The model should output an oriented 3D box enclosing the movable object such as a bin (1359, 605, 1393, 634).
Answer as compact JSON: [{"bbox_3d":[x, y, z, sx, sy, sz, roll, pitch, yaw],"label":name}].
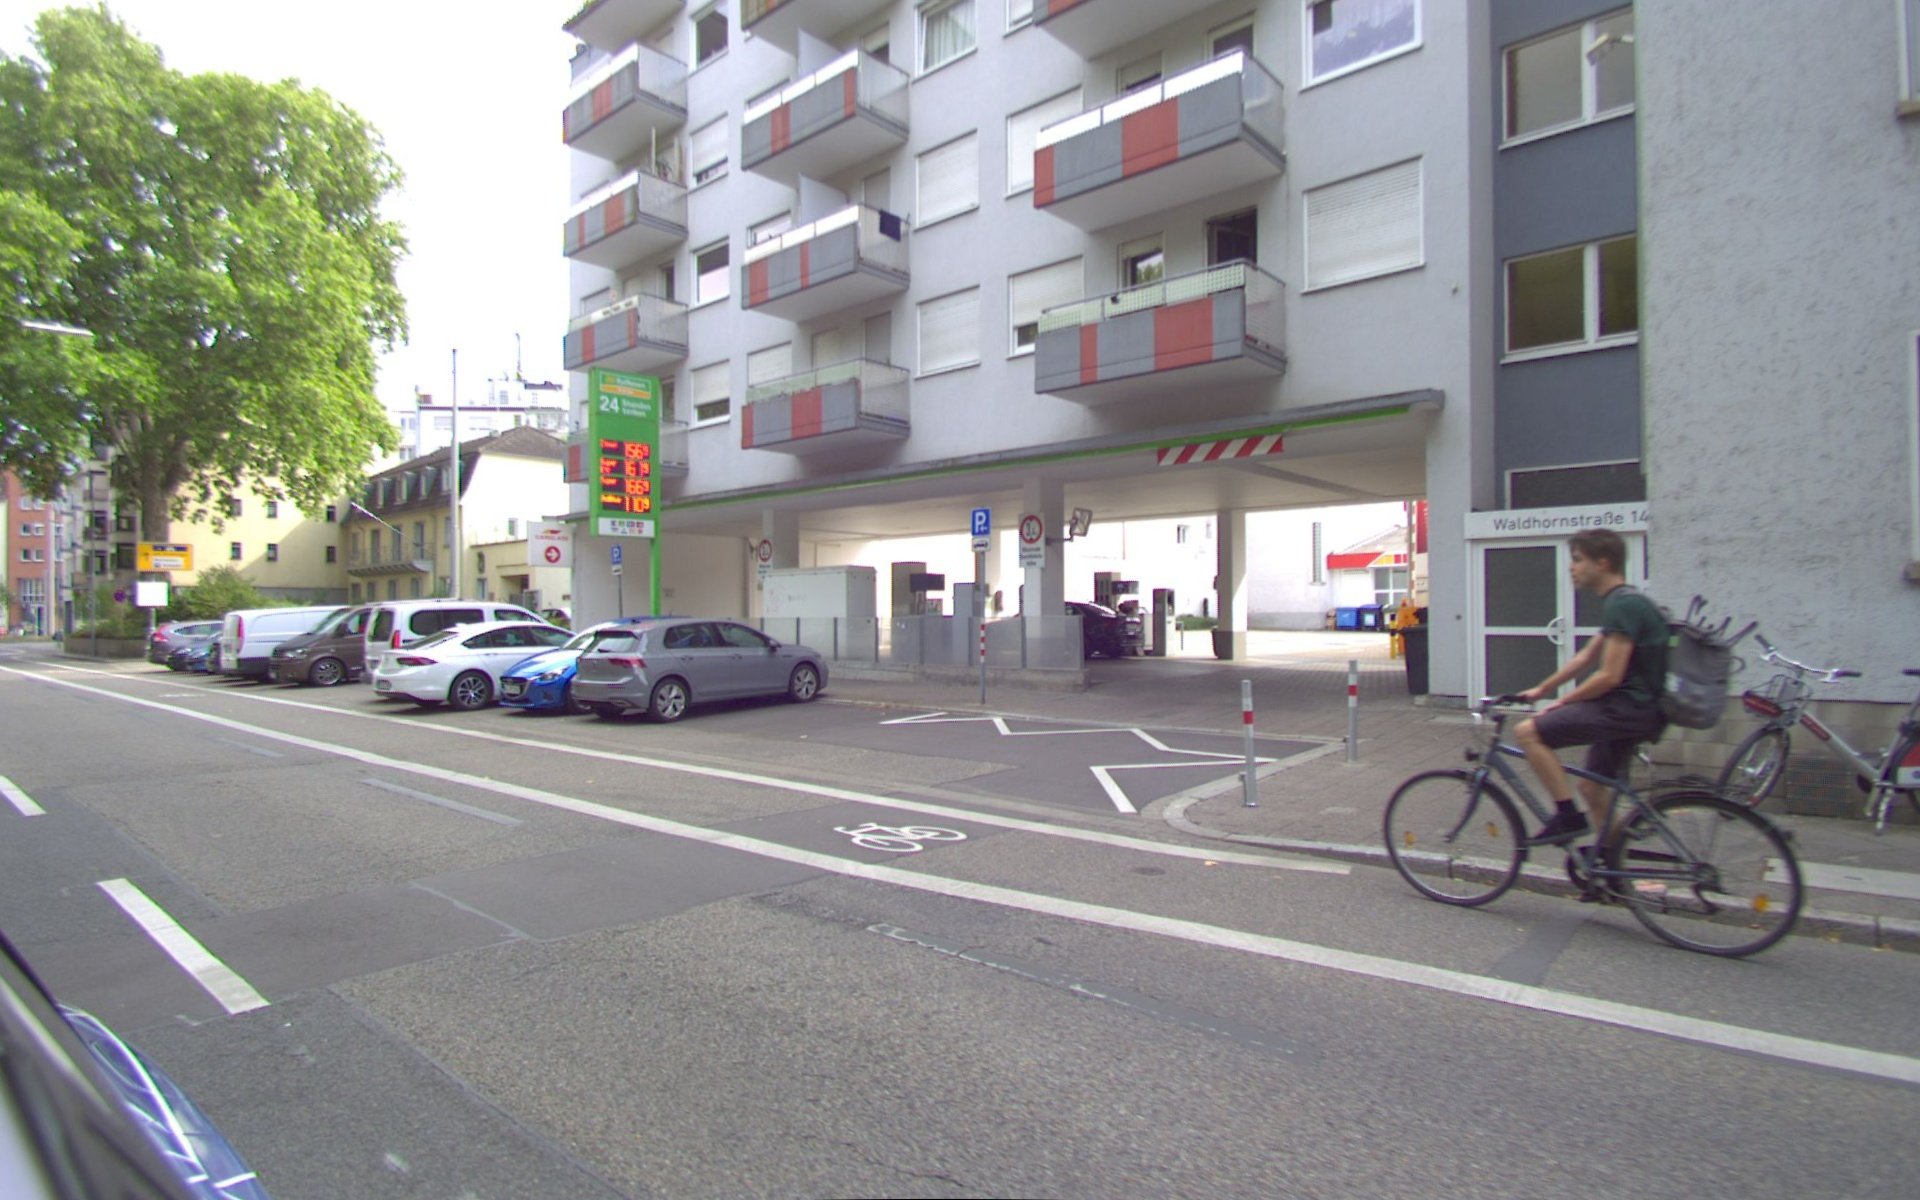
[{"bbox_3d":[21.803,1.013,53.065,1.229,1.454,1.167,0,-1,-38],"label":"movable object such as a bin"}]

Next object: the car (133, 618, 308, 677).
[{"bbox_3d":[-24.950,1.547,34.266,1.754,1.618,4.470,-2,1,42],"label":"car"}]

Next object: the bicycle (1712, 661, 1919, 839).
[{"bbox_3d":[5.550,0.875,6.029,1.662,0.957,0.591,-2,0,42],"label":"bicycle"}]

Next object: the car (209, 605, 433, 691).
[{"bbox_3d":[-16.626,1.180,26.521,1.950,1.873,4.567,-2,1,42],"label":"car"}]

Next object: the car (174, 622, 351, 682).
[{"bbox_3d":[-21.558,1.552,31.396,1.719,1.522,4.220,-2,1,42],"label":"car"}]

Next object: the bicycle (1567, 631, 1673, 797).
[{"bbox_3d":[5.281,0.838,8.062,0.453,1.126,1.753,-2,0,41],"label":"bicycle"}]

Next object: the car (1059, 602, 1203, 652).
[{"bbox_3d":[5.586,0.885,33.412,4.365,1.533,1.820,-2,-1,42],"label":"car"}]

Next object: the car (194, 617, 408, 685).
[{"bbox_3d":[-18.307,1.356,28.296,1.874,1.481,4.655,-2,1,42],"label":"car"}]

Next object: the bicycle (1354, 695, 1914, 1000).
[{"bbox_3d":[3.012,1.018,4.745,2.076,1.022,0.639,-1,-2,41],"label":"bicycle"}]

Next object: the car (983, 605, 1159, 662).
[{"bbox_3d":[2.711,0.808,25.142,3.998,1.308,1.888,-1,-1,41],"label":"car"}]

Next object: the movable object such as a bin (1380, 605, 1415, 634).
[{"bbox_3d":[22.504,1.002,52.080,1.229,1.454,1.167,0,-1,-38],"label":"movable object such as a bin"}]

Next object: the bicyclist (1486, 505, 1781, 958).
[{"bbox_3d":[3.097,0.539,4.682,1.045,1.824,0.645,-1,-2,42],"label":"bicyclist"}]

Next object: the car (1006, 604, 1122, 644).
[{"bbox_3d":[4.108,0.955,40.377,4.365,1.533,1.820,-2,-1,42],"label":"car"}]

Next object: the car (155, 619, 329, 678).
[{"bbox_3d":[-23.172,1.514,32.785,1.732,1.560,4.315,-2,1,42],"label":"car"}]

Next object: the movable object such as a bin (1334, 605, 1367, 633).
[{"bbox_3d":[20.929,1.027,54.201,1.229,1.454,1.167,0,-1,-38],"label":"movable object such as a bin"}]

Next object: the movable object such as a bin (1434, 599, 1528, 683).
[{"bbox_3d":[8.931,0.689,17.355,1.178,1.362,1.031,-2,-2,44],"label":"movable object such as a bin"}]

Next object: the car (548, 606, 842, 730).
[{"bbox_3d":[-4.027,0.955,15.888,1.837,1.525,4.107,-2,1,42],"label":"car"}]

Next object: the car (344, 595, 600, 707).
[{"bbox_3d":[-9.680,0.928,20.311,1.923,1.861,4.167,-2,1,42],"label":"car"}]

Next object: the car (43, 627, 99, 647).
[{"bbox_3d":[-83.451,3.467,95.033,1.940,1.683,4.561,-1,-1,-11],"label":"car"}]

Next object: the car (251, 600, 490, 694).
[{"bbox_3d":[-14.533,1.077,25.174,1.993,1.948,4.716,-2,1,42],"label":"car"}]

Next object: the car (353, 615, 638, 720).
[{"bbox_3d":[-8.183,1.103,18.133,1.873,1.462,4.226,-2,1,42],"label":"car"}]

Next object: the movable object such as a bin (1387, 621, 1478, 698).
[{"bbox_3d":[7.094,0.872,15.200,0.975,1.115,0.934,-2,-2,44],"label":"movable object such as a bin"}]

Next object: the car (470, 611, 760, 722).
[{"bbox_3d":[-5.728,1.027,17.199,1.910,1.462,4.255,-2,1,42],"label":"car"}]

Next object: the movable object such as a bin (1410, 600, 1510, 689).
[{"bbox_3d":[8.044,0.701,16.287,1.178,1.362,1.031,-2,-2,44],"label":"movable object such as a bin"}]
